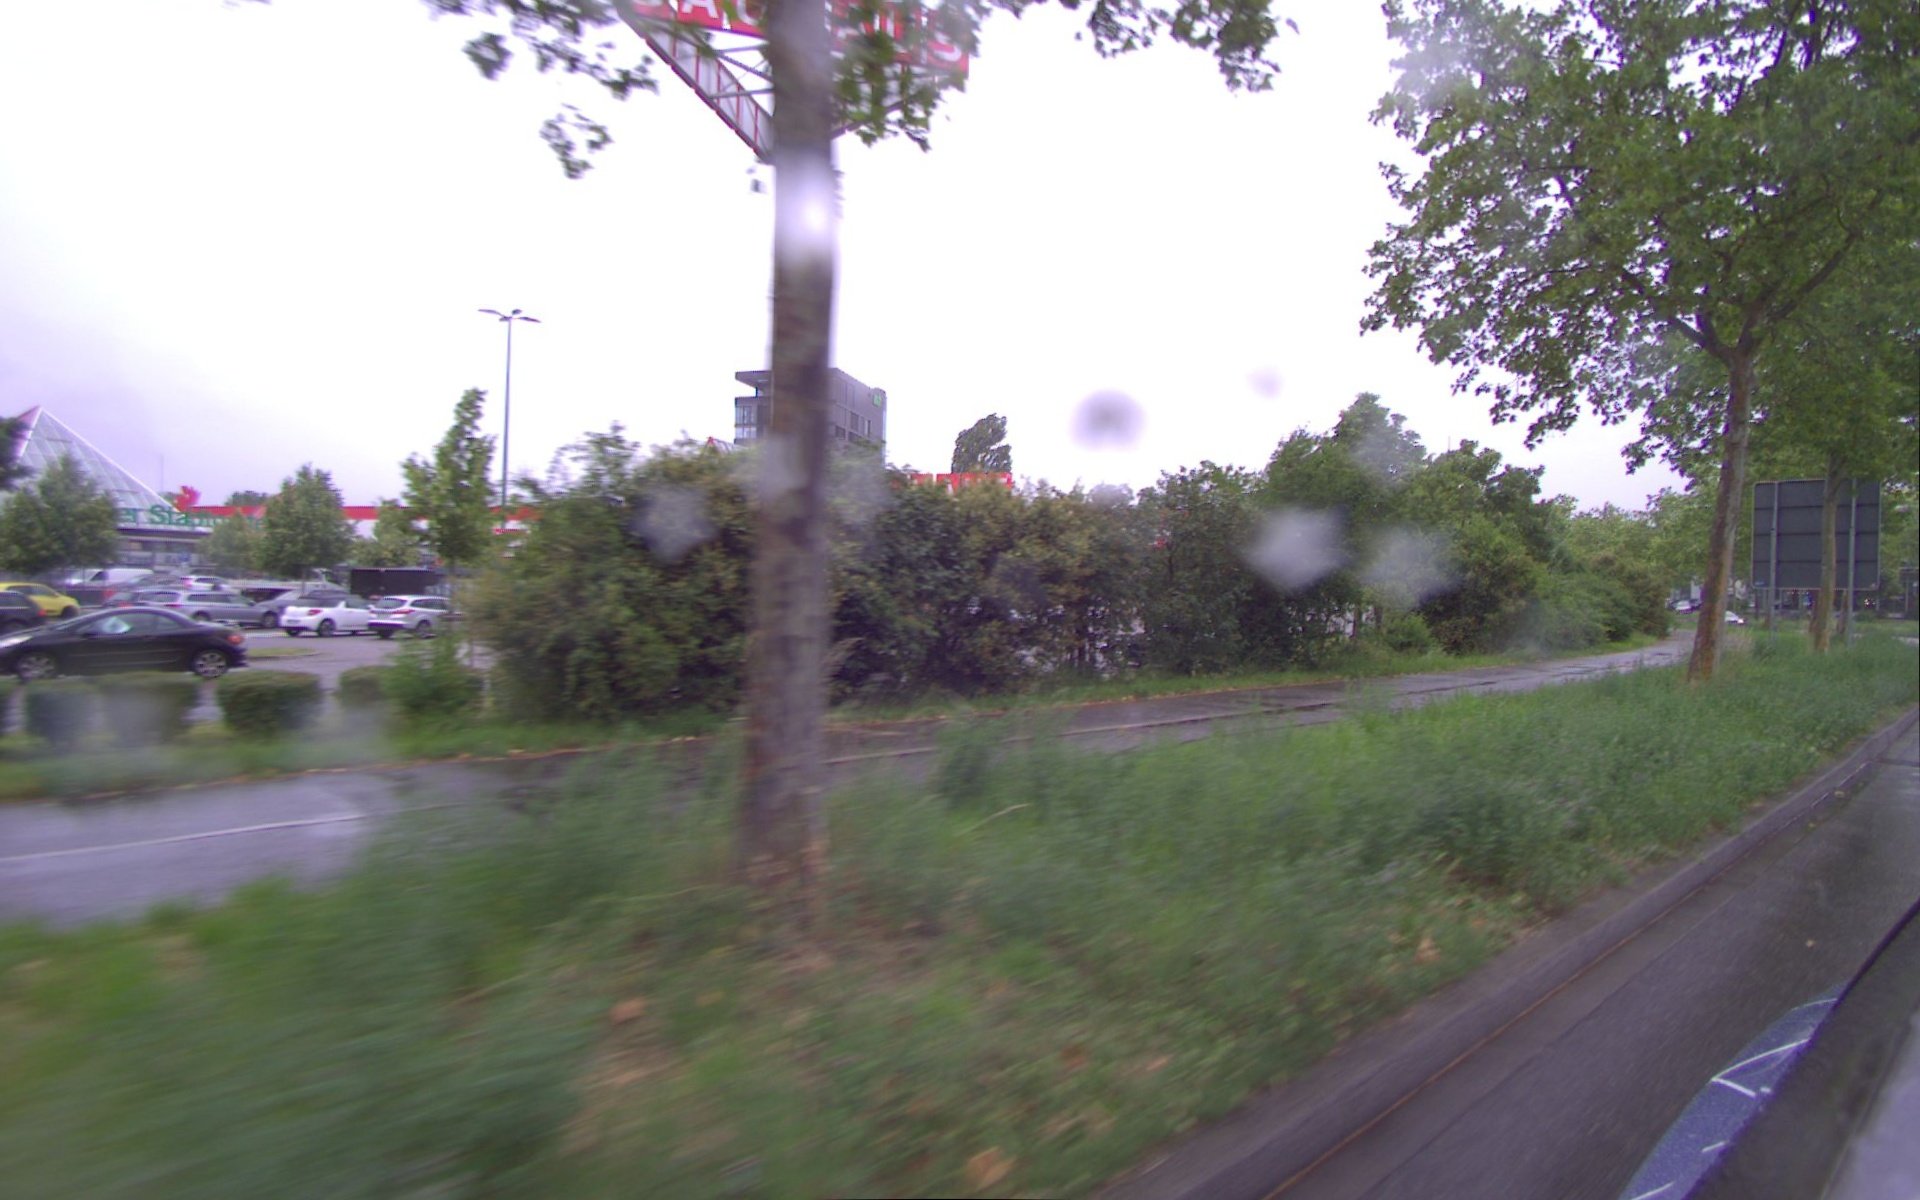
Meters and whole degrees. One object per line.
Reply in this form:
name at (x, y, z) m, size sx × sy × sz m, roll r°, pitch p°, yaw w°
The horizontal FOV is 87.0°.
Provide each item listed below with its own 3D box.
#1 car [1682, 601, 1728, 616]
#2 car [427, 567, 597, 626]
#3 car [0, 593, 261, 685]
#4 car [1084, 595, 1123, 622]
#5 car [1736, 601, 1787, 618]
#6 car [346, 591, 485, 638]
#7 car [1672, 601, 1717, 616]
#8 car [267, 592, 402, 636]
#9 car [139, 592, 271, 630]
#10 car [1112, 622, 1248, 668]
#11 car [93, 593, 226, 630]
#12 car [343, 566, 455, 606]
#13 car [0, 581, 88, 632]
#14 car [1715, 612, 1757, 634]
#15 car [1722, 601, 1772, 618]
car at (85.782, 0.957, 116.605) m, size 3.923 × 1.681 × 1.865 m, roll -1°, pitch 0°, yaw -1°
car at (-19.376, -0.128, 44.393) m, size 2.552 × 2.386 × 7.532 m, roll 0°, pitch 0°, yaw 16°
car at (-16.012, 0.686, 19.634) m, size 3.928 × 1.582 × 1.867 m, roll -1°, pitch 0°, yaw -39°
car at (9.117, 0.517, 64.206) m, size 1.733 × 1.654 × 3.821 m, roll 1°, pitch 0°, yaw 20°
car at (85.352, 1.024, 107.810) m, size 3.923 × 1.681 × 1.865 m, roll -1°, pitch 0°, yaw -1°
car at (-19.192, 0.499, 35.899) m, size 1.911 × 1.546 × 4.318 m, roll 0°, pitch 0°, yaw 15°
car at (86.141, 0.944, 118.767) m, size 3.923 × 1.681 × 1.865 m, roll -1°, pitch 0°, yaw -1°
car at (-22.299, 0.492, 36.267) m, size 1.779 × 1.473 × 4.011 m, roll 0°, pitch 0°, yaw 15°
car at (-28.492, 0.400, 38.307) m, size 1.543 × 1.373 × 3.854 m, roll 0°, pitch 0°, yaw 17°
car at (6.848, 1.357, 31.648) m, size 3.829 × 1.213 × 1.729 m, roll 1°, pitch 0°, yaw 41°
car at (-30.763, 0.411, 39.044) m, size 1.543 × 1.373 × 3.854 m, roll 0°, pitch 0°, yaw 17°
car at (-24.448, -0.574, 44.277) m, size 1.916 × 1.655 × 4.002 m, roll 0°, pitch 0°, yaw 21°
car at (-38.929, 0.247, 41.877) m, size 1.871 × 2.039 × 3.981 m, roll 0°, pitch 0°, yaw 15°
car at (62.163, 1.823, 81.150) m, size 1.981 × 1.672 × 3.962 m, roll 0°, pitch 0°, yaw 27°
car at (85.382, 1.016, 109.778) m, size 3.923 × 1.681 × 1.865 m, roll -1°, pitch 0°, yaw -1°
